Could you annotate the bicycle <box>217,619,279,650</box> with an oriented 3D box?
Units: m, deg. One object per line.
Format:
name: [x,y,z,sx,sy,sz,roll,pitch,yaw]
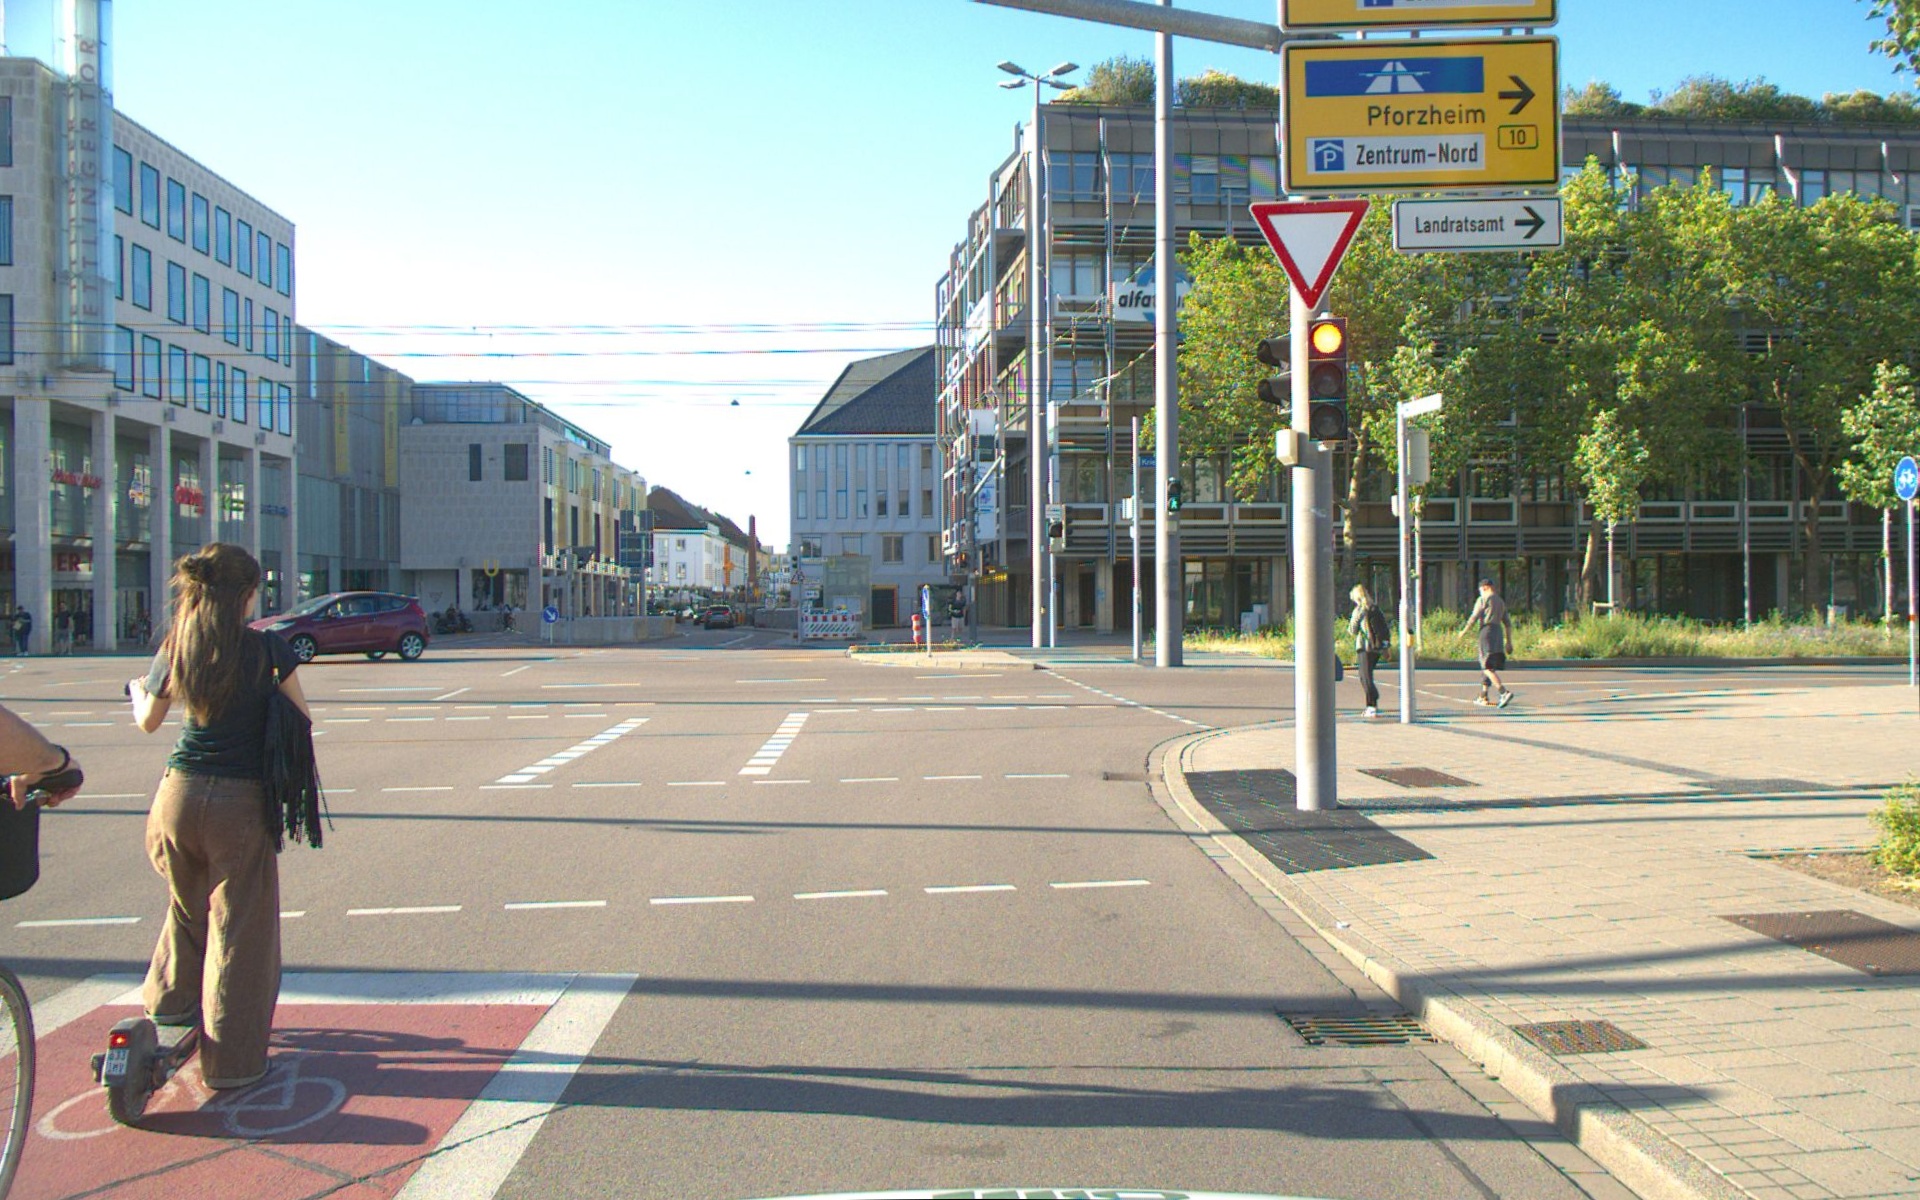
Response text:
bicycle: [-29.333,1.426,68.115,2.260,1.244,0.611,0,0,-3]

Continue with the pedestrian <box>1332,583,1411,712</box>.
pedestrian: [4.964,0.568,19.976,0.772,1.518,0.644,1,-1,-1]

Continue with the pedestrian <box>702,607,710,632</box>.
pedestrian: [-17.891,1.361,116.650,0.511,1.709,0.582,1,0,-8]

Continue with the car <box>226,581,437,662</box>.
car: [-13.240,0.423,34.977,1.630,1.613,3.874,-1,0,42]

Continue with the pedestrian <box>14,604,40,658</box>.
pedestrian: [-32.862,1.080,58.261,0.787,1.876,0.856,0,0,-29]

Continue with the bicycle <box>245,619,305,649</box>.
bicycle: [-29.290,1.438,70.754,2.260,1.244,0.611,0,0,-3]

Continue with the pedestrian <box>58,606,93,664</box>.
pedestrian: [-31.666,1.243,59.199,0.868,2.049,0.771,1,-1,-12]

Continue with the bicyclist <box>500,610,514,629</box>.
bicyclist: [-26.807,1.125,97.790,0.500,1.103,0.624,1,0,29]

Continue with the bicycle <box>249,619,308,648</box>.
bicycle: [-29.504,1.438,71.631,2.260,1.244,0.611,0,0,-3]

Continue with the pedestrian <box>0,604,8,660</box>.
pedestrian: [-33.117,1.097,56.769,0.706,1.918,0.780,1,-1,-28]

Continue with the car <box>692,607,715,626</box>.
car: [-24.362,1.555,157.173,1.762,1.686,3.996,1,0,-5]

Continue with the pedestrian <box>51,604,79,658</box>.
pedestrian: [-31.170,1.072,57.602,0.788,1.876,0.854,0,0,-33]

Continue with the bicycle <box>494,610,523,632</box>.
bicycle: [-26.730,1.243,97.966,0.500,1.228,1.808,1,0,28]

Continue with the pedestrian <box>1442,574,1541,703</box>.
pedestrian: [7.126,0.510,22.188,0.864,1.694,0.960,1,-1,-16]

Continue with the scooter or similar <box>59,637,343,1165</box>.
scooter or similar: [-2.174,0.783,4.860,0.538,1.316,1.189,1,0,-15]

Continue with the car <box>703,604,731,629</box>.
car: [-15.827,1.057,107.945,1.705,1.558,3.849,1,0,-8]

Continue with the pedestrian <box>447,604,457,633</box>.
pedestrian: [-30.100,1.074,98.076,0.512,1.709,0.581,1,0,-14]

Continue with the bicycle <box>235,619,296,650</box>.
bicycle: [-29.126,1.435,69.401,2.260,1.244,0.611,0,0,-3]

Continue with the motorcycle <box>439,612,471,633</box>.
motorcycle: [-29.762,1.328,97.474,1.775,1.228,0.509,1,0,-16]

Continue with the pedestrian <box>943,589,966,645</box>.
pedestrian: [-0.202,0.577,57.297,0.772,1.923,0.644,1,-1,-1]

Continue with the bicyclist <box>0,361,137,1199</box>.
bicyclist: [-1.974,0.463,2.852,0.647,1.750,0.865,1,-1,-1]

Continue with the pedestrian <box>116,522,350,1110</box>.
pedestrian: [-2.184,0.615,5.028,0.540,1.661,0.569,1,-1,-16]

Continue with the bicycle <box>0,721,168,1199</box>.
bicycle: [-2.077,0.867,2.927,0.475,1.176,1.831,1,0,-1]
